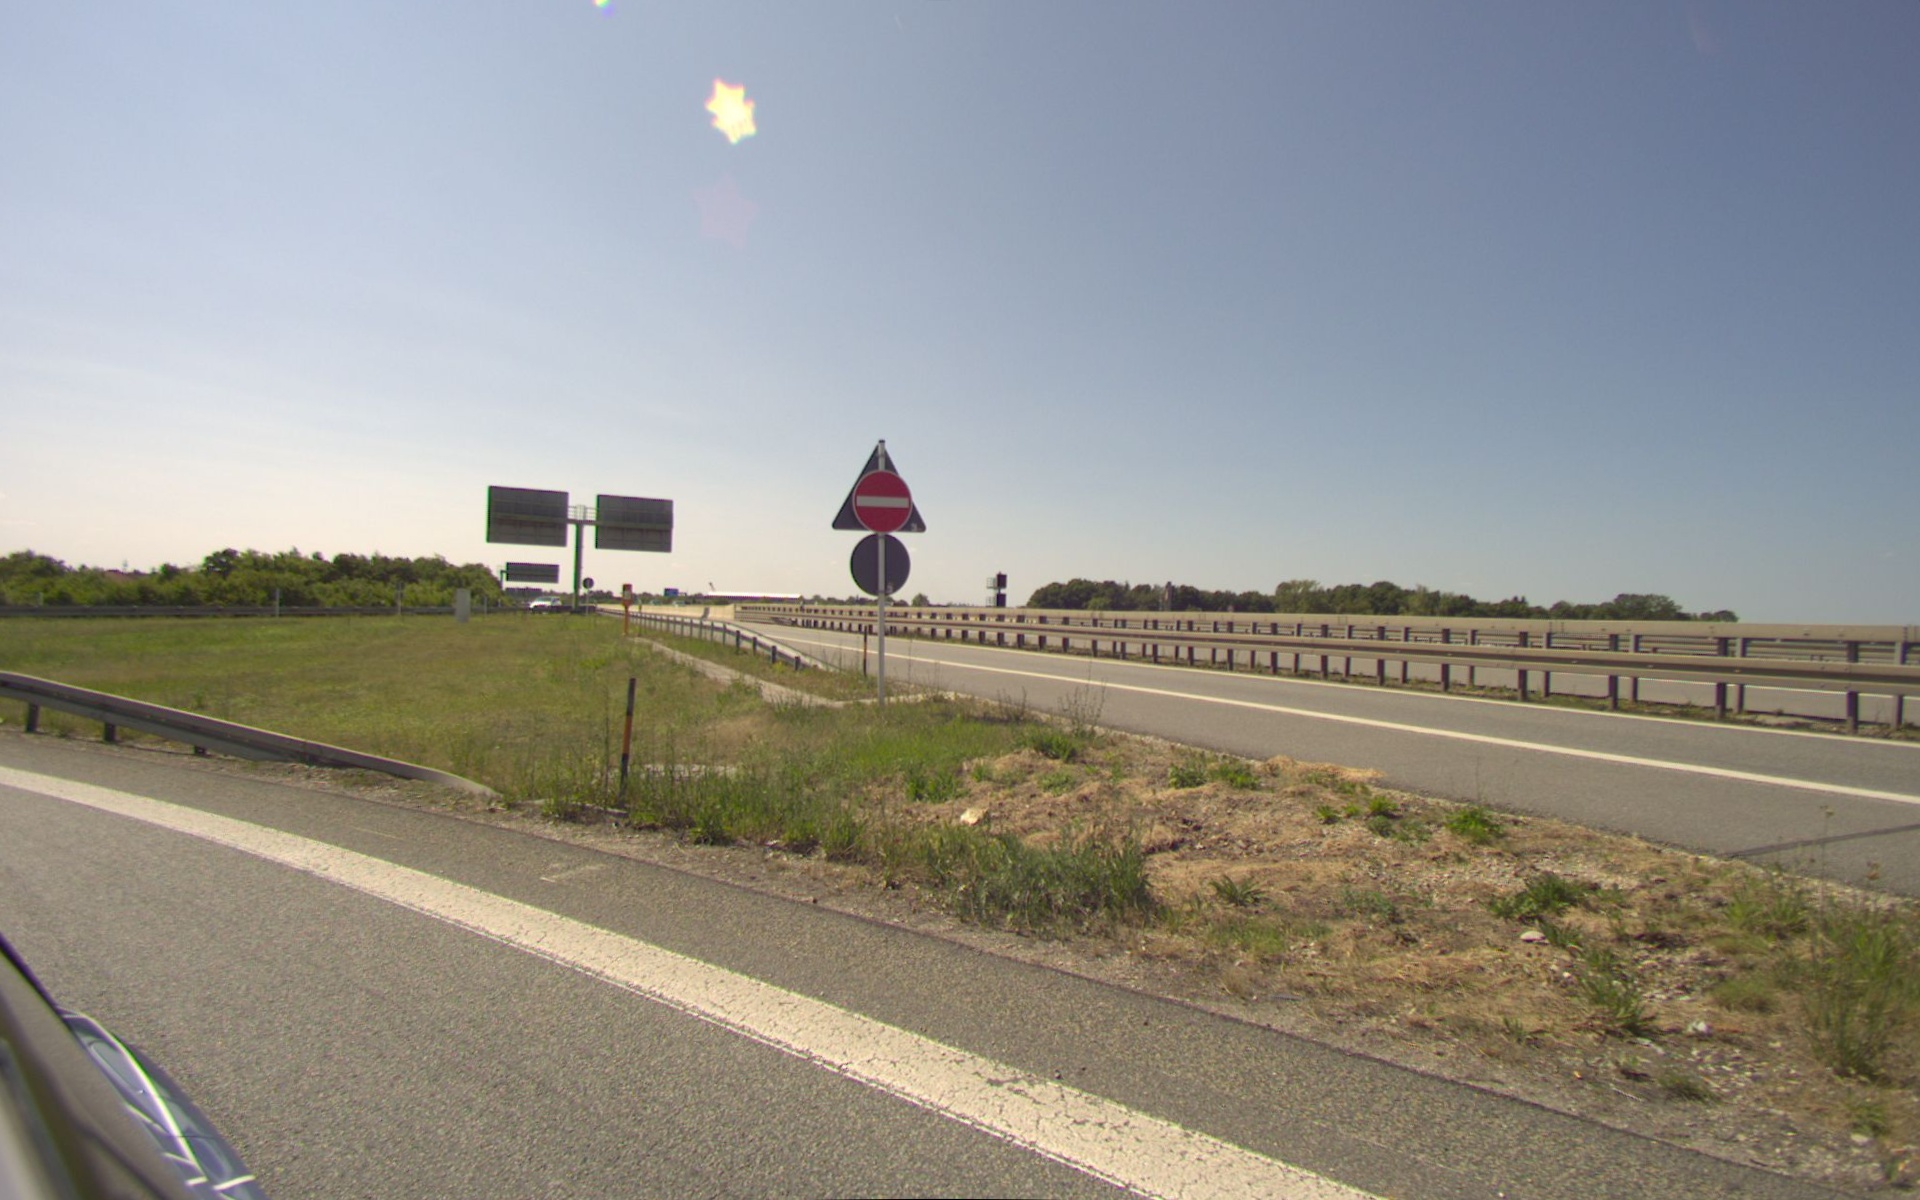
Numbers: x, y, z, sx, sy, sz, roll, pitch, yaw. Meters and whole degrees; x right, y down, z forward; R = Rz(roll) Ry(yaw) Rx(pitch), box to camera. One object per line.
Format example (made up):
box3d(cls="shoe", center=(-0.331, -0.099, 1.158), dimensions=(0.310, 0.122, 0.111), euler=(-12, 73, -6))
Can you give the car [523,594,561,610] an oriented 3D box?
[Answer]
box3d(cls="car", center=(-40.454, 0.168, 98.119), dimensions=(1.971, 1.519, 4.300), euler=(0, 1, -1))
